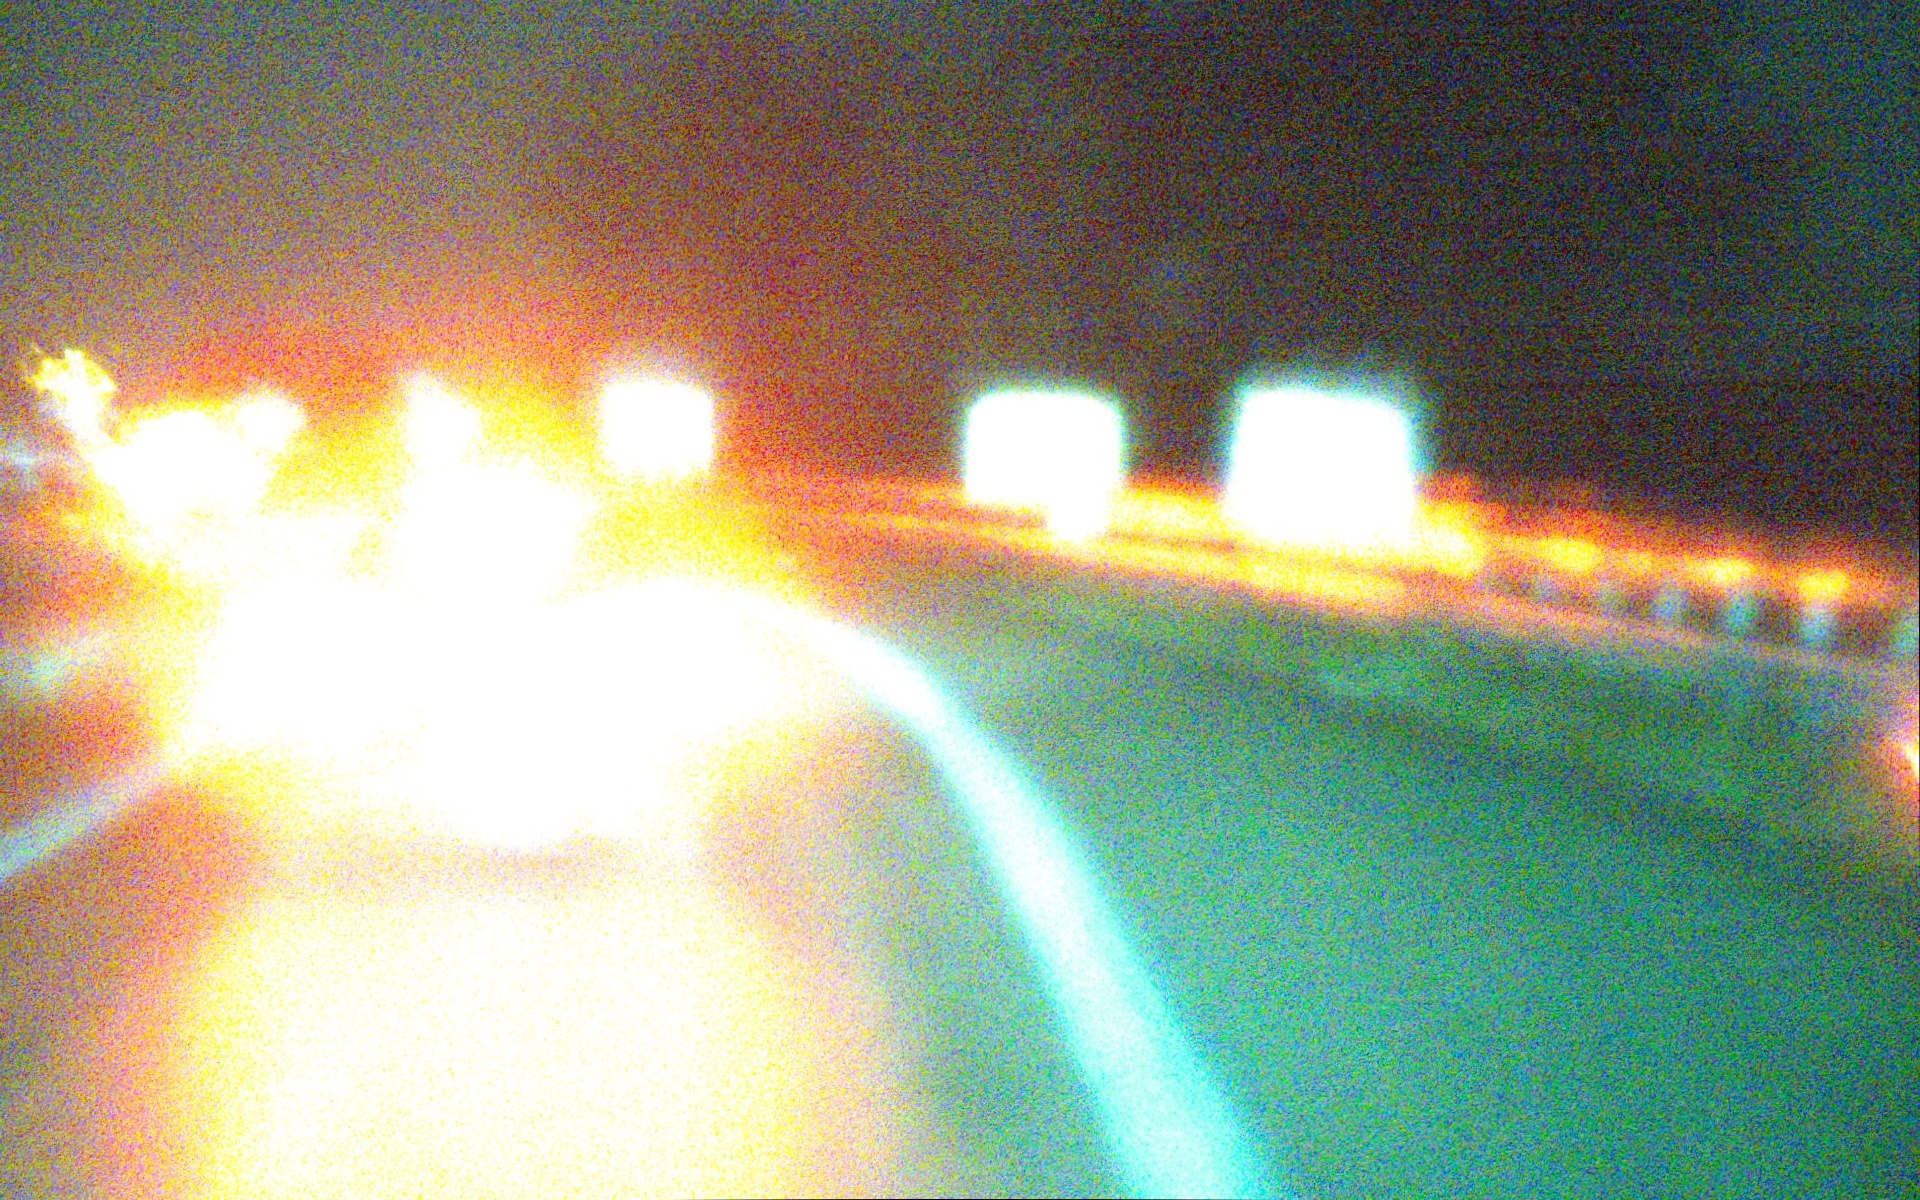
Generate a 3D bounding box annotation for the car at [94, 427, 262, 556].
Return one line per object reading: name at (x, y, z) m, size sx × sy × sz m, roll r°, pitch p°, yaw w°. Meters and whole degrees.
car at (-12.989, -1.824, 56.949) m, size 1.895 × 2.033 × 4.047 m, roll -1°, pitch 3°, yaw -25°

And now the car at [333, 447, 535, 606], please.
car at (-6.090, -0.858, 39.455) m, size 1.895 × 1.714 × 4.047 m, roll -1°, pitch 2°, yaw -14°

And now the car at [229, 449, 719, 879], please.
car at (-2.132, 0.175, 15.245) m, size 1.860 × 1.641 × 4.070 m, roll 0°, pitch 2°, yaw -8°
